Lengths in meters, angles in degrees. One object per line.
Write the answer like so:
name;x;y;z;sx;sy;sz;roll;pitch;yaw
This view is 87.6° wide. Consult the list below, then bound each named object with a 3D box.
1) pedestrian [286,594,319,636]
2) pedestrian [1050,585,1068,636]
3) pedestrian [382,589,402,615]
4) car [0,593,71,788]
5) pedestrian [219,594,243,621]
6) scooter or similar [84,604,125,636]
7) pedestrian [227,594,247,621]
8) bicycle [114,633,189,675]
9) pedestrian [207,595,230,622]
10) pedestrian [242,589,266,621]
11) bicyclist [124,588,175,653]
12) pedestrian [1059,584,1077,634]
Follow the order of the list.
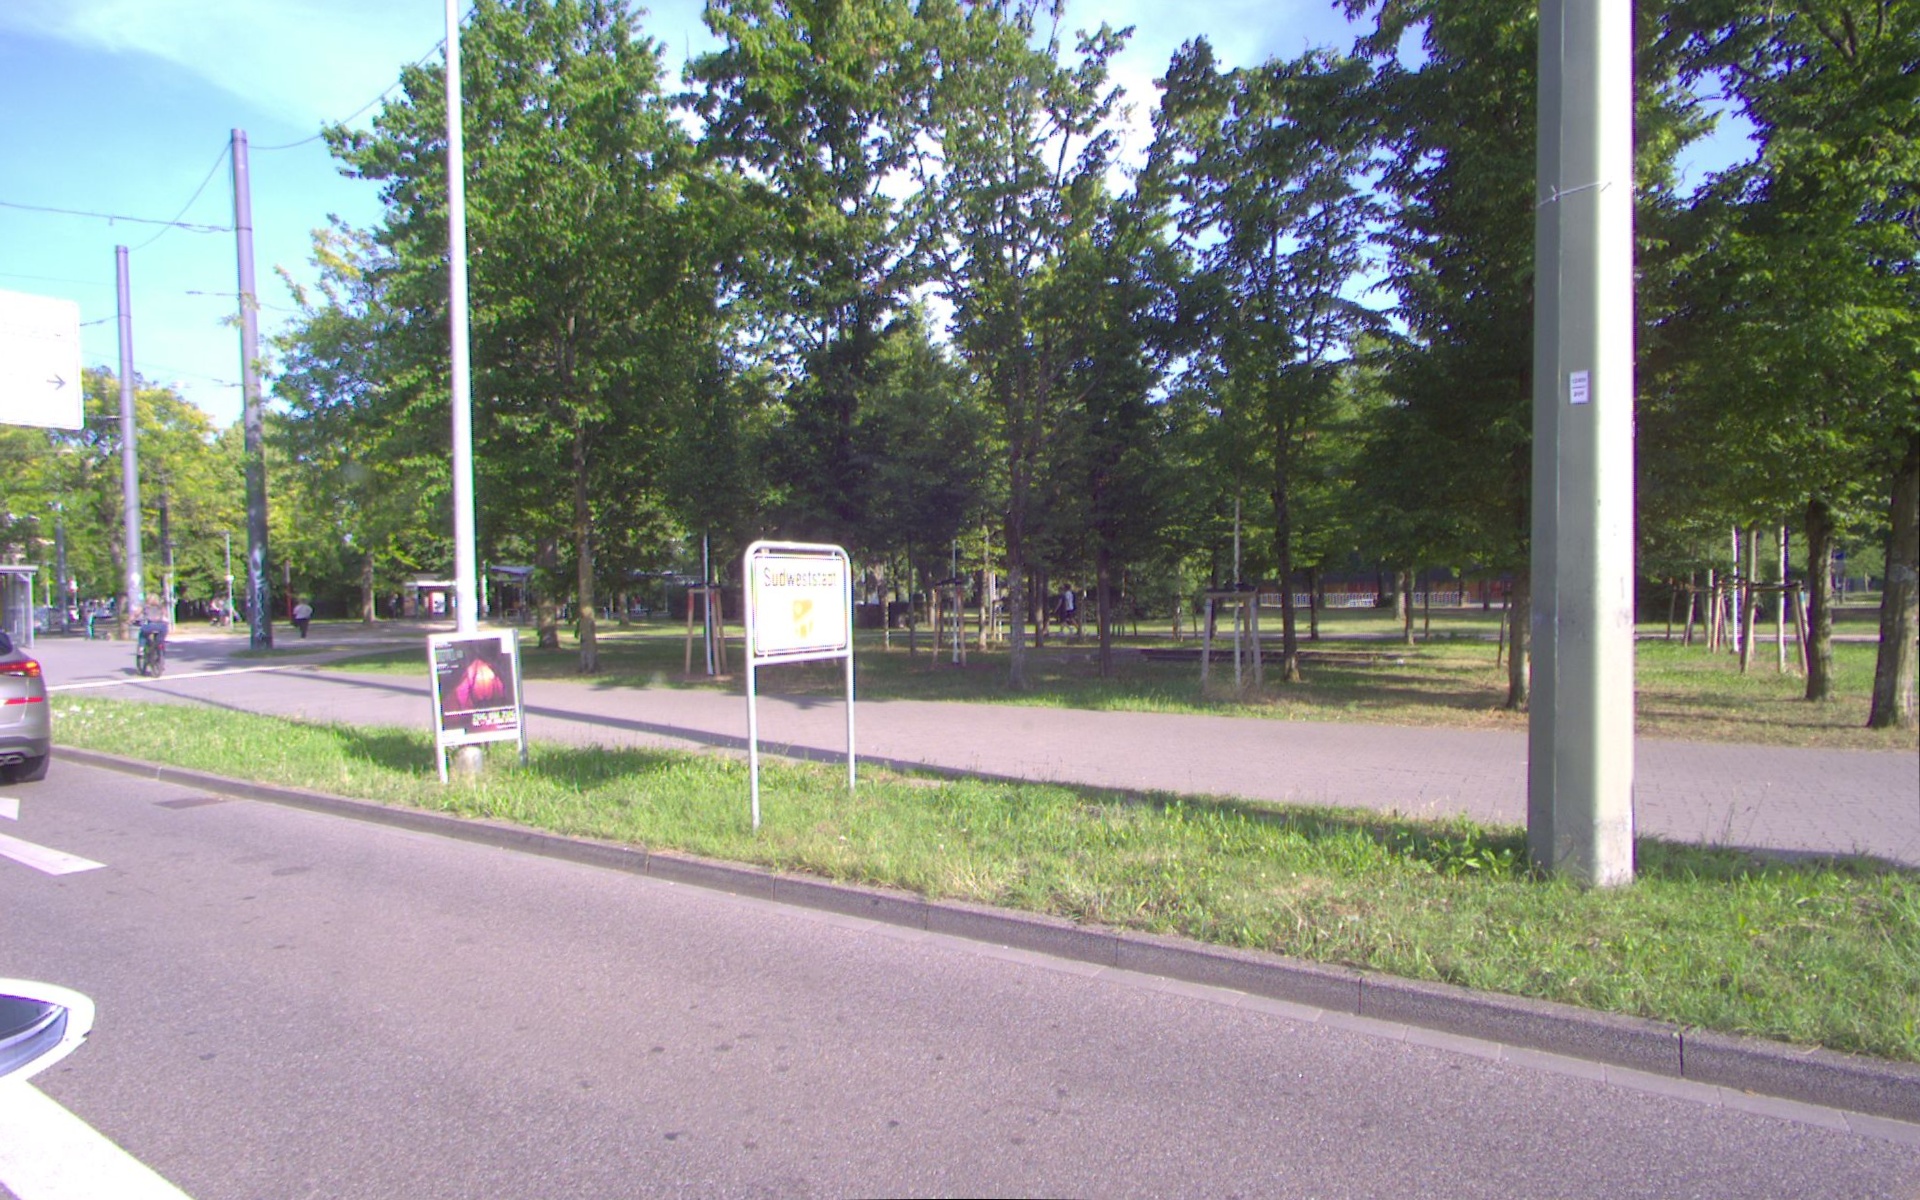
pedestrian;-26.290;0.596;40.038;0.793;1.659;0.754;-1;1;-7
pedestrian;3.577;0.372;36.065;0.617;1.836;0.502;-1;1;6
pedestrian;-35.473;0.124;62.506;0.792;1.659;0.832;0;1;38
car;-10.012;0.801;9.157;3.595;1.673;1.880;-1;1;32
pedestrian;-41.112;0.420;56.449;0.688;1.508;0.813;0;1;22
scooter or similar;-31.470;0.736;36.849;1.305;1.132;0.420;-1;1;13
pedestrian;-40.008;0.411;55.404;0.804;1.508;0.696;-2;1;-33
bicycle;-16.310;1.064;20.179;2.138;0.767;0.494;-1;2;33
pedestrian;-41.048;0.465;55.422;0.687;1.508;0.815;-1;1;-9
pedestrian;-40.269;0.298;57.135;0.826;1.809;0.798;0;1;28
bicyclist;-16.281;0.402;20.112;0.856;1.279;0.533;0;1;32
pedestrian;3.965;0.335;36.759;0.617;1.836;0.502;-1;1;3
